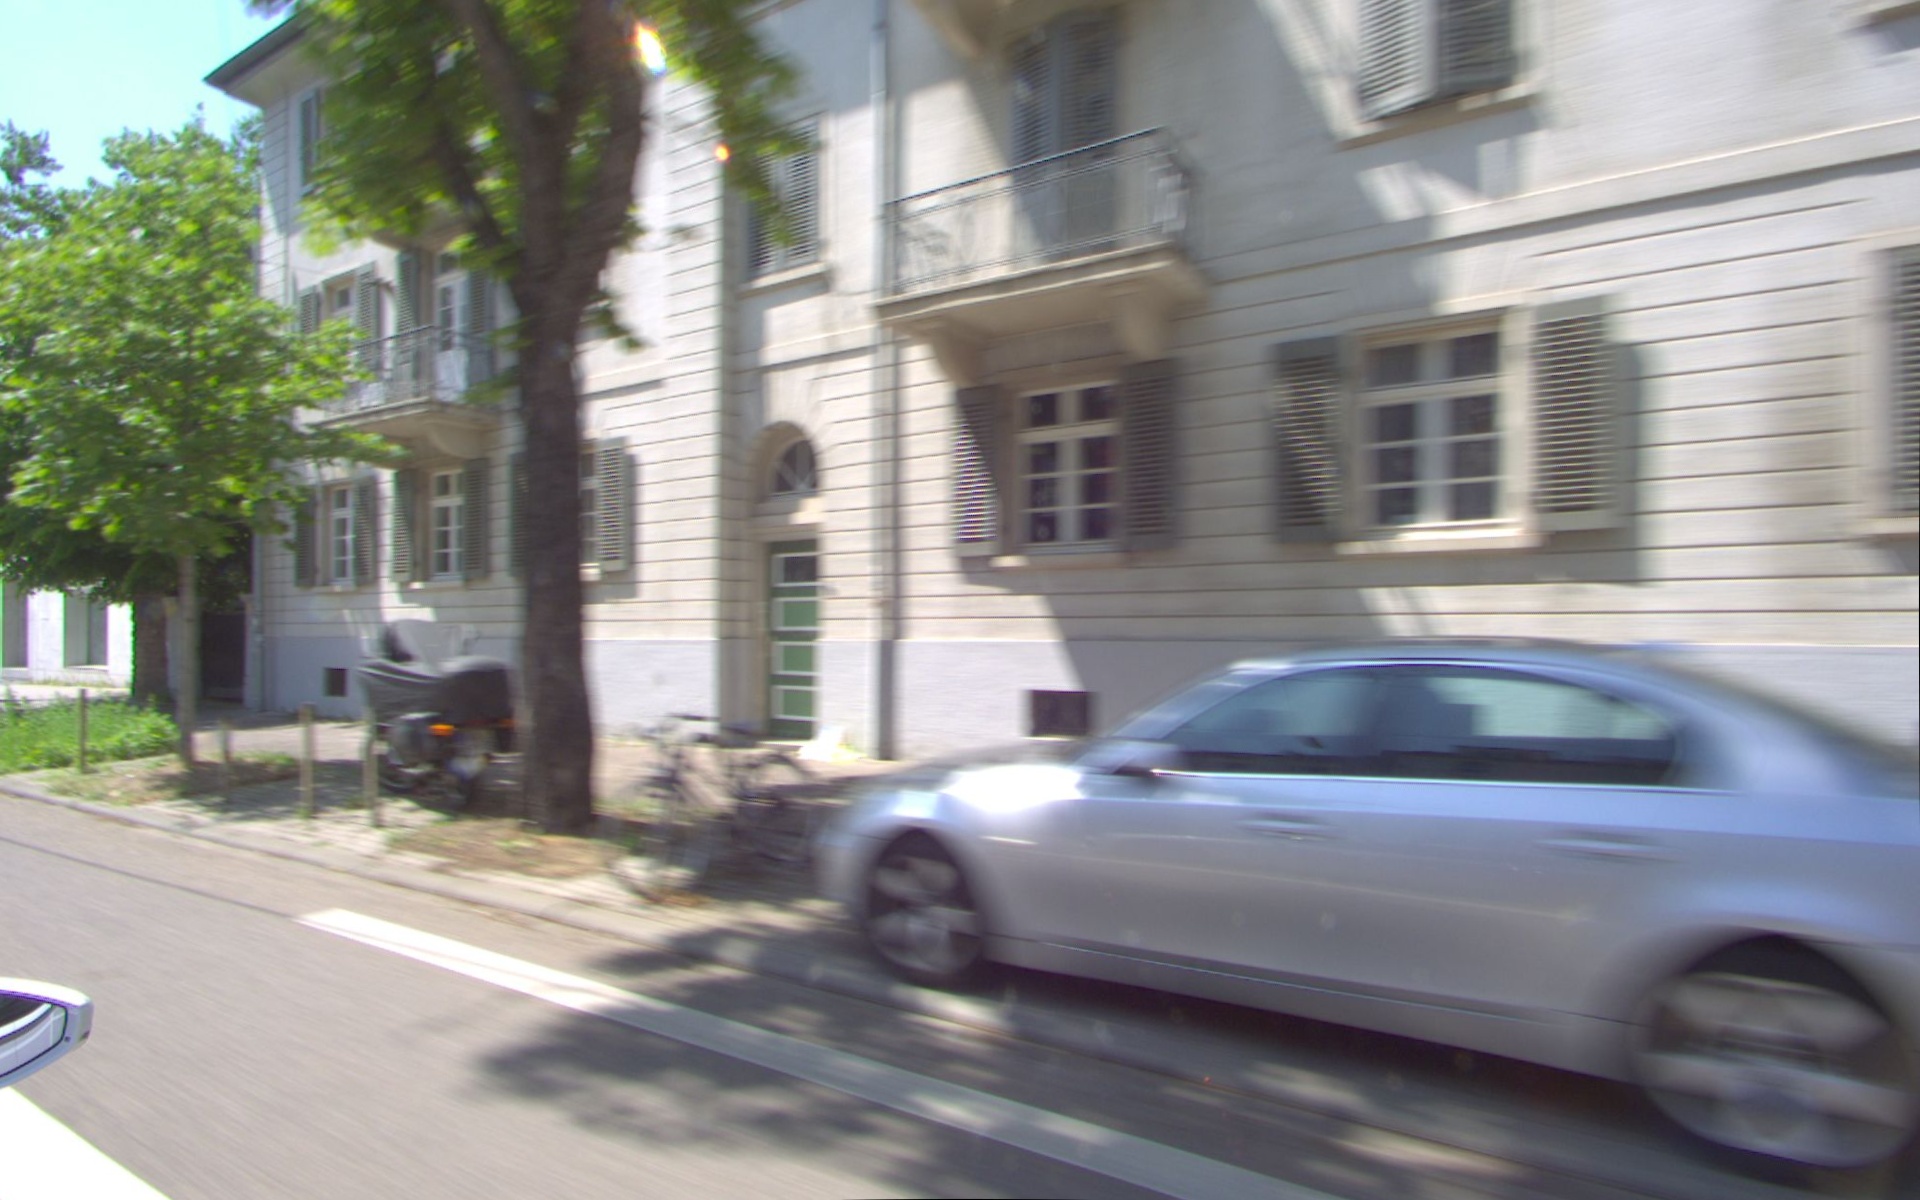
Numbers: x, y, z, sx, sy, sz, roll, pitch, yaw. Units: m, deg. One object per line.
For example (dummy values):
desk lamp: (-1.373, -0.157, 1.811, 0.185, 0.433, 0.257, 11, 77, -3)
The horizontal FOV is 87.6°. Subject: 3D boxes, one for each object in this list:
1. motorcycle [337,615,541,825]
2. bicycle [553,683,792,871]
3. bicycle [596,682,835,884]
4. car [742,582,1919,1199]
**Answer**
motorcycle: (-4.446, 0.910, 8.424, 2.532, 1.525, 0.741, -1, -2, 44)
bicycle: (-1.788, 1.067, 6.476, 0.366, 1.028, 1.655, -3, -4, 32)
bicycle: (-1.452, 1.058, 6.244, 0.366, 1.028, 1.655, 0, -2, 33)
car: (1.493, 0.821, 4.198, 4.808, 1.597, 1.857, -1, -3, 33)
